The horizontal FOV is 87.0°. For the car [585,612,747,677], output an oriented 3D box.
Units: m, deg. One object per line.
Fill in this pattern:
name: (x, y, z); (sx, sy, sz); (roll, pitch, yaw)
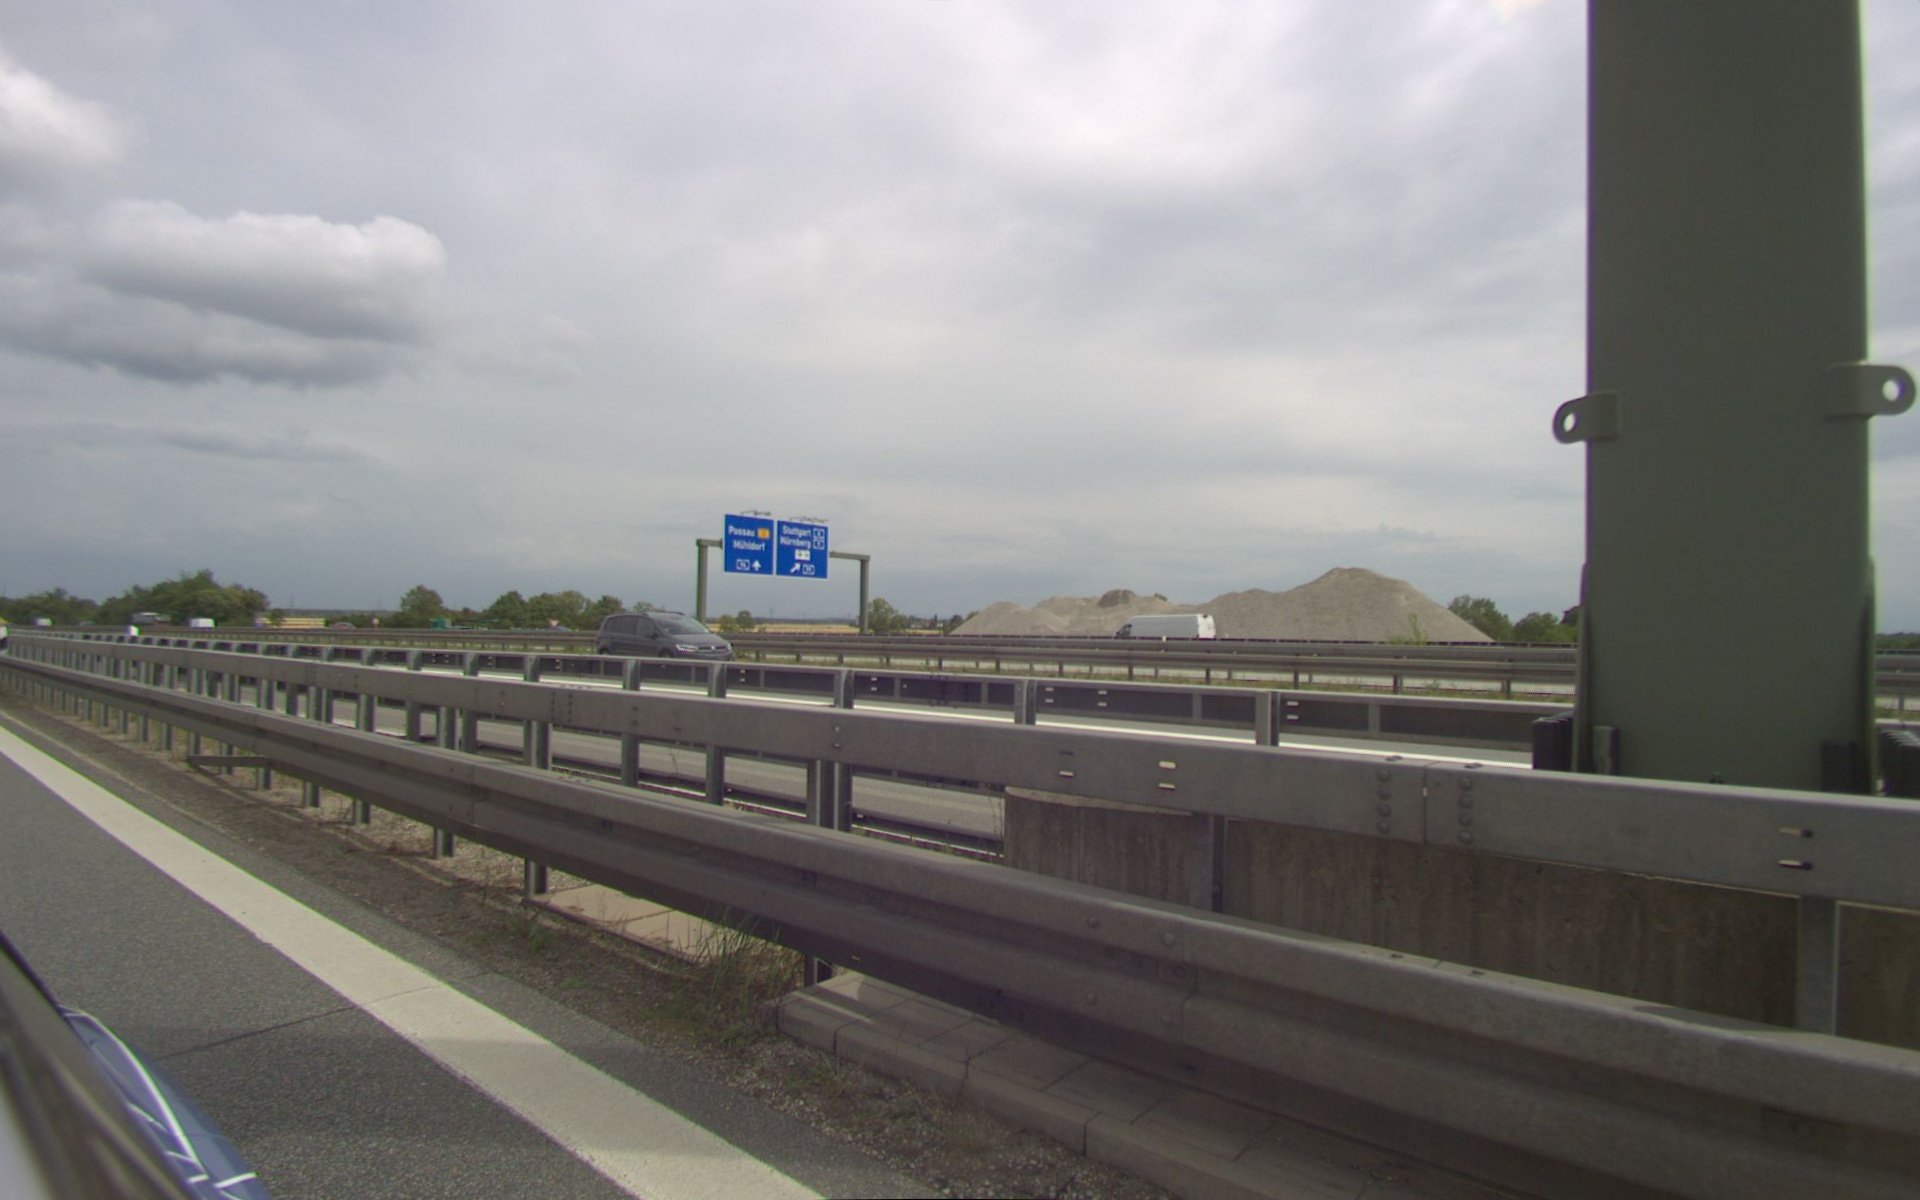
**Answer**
car: (-7.786, 1.111, 26.572); (4.611, 1.558, 1.862); (-1, -1, 40)

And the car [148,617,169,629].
car: (-129.456, 3.674, 163.462); (3.993, 1.874, 1.809); (-1, -1, 37)

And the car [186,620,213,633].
car: (-111.453, 3.919, 148.335); (4.746, 1.874, 2.080); (-1, -1, 40)

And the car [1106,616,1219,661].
car: (10.658, 1.985, 53.597); (5.513, 2.240, 2.174); (-1, -1, 41)
